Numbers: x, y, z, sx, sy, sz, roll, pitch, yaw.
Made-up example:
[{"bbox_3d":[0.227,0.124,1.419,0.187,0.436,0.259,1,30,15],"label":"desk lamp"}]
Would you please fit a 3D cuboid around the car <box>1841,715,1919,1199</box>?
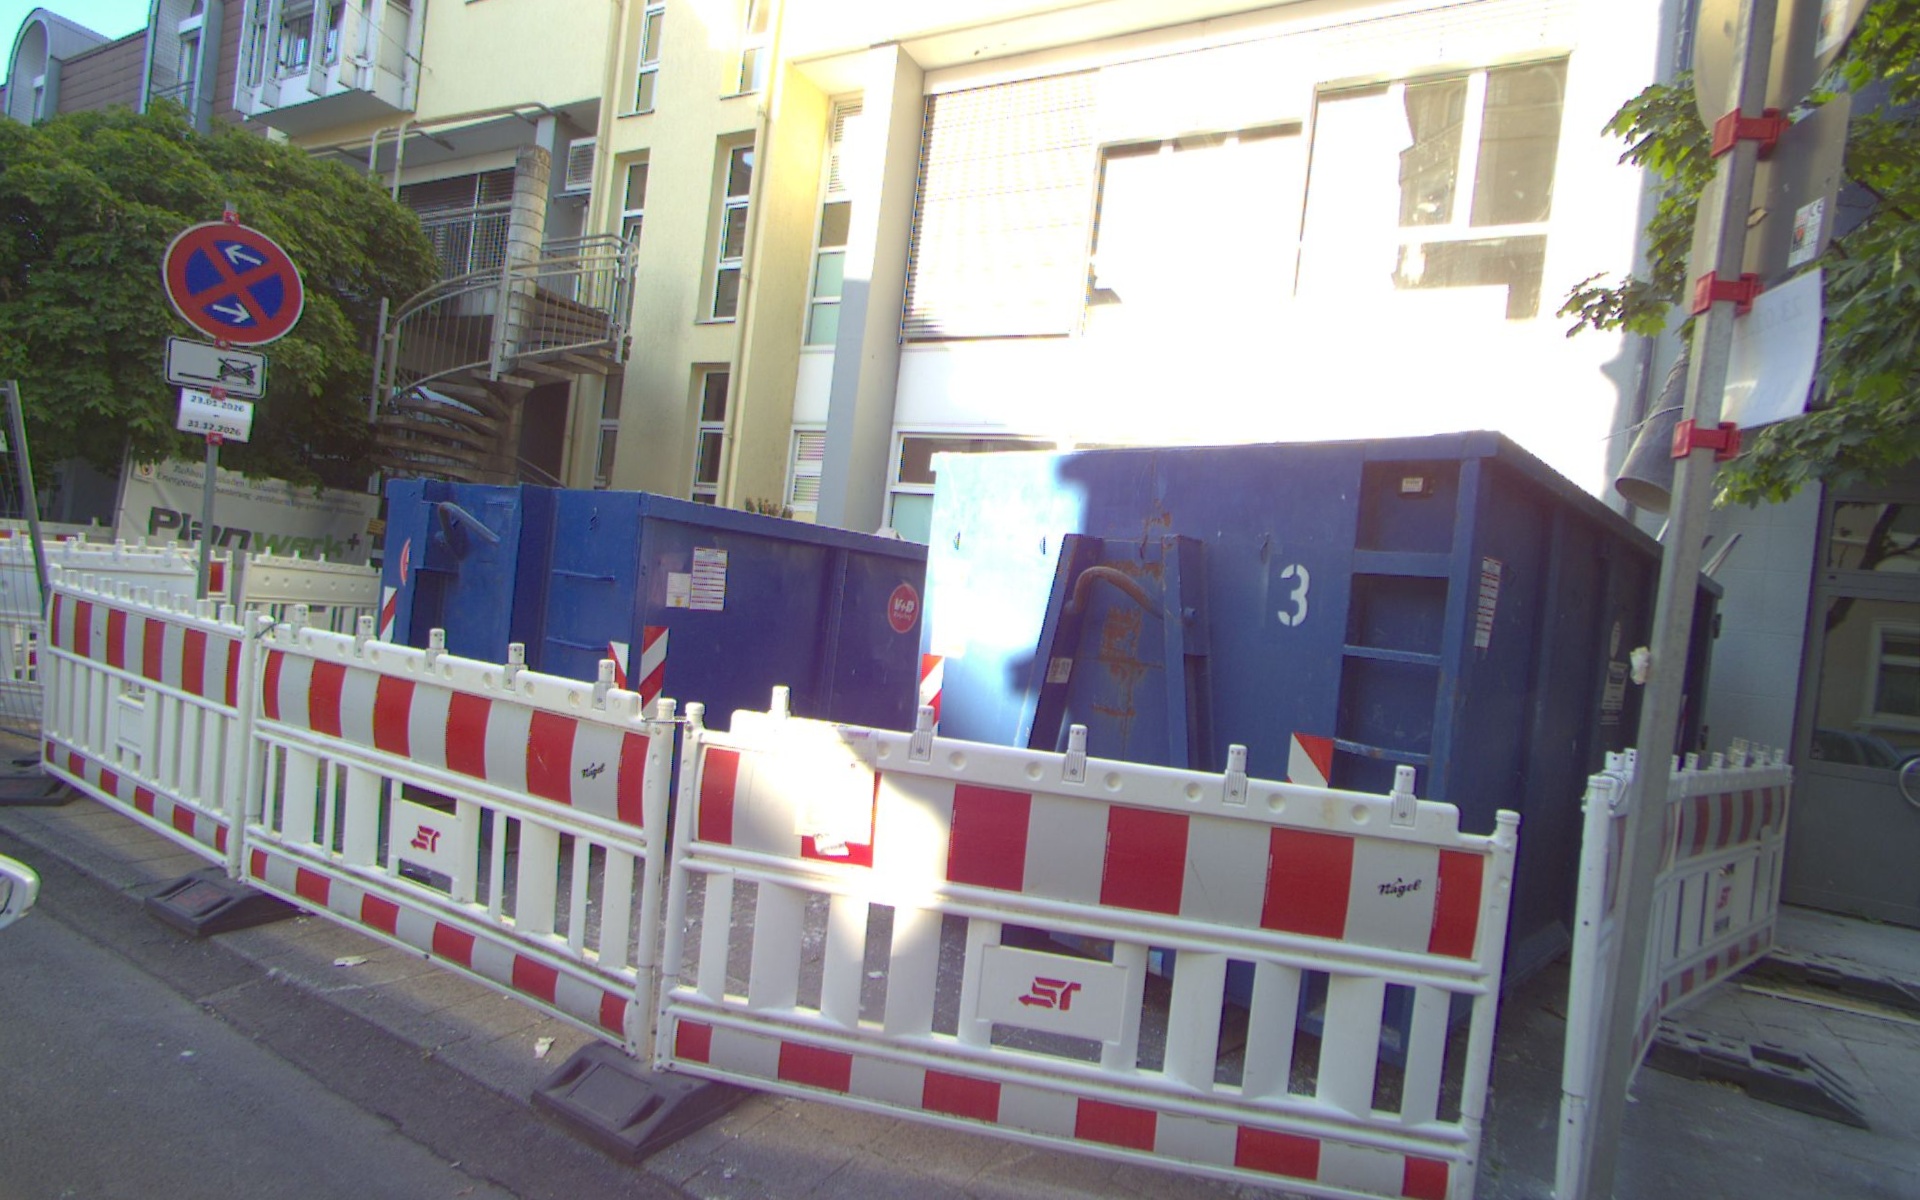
[{"bbox_3d":[3.022,1.124,0.450,3.668,1.495,1.677,7,1,32],"label":"car"}]
